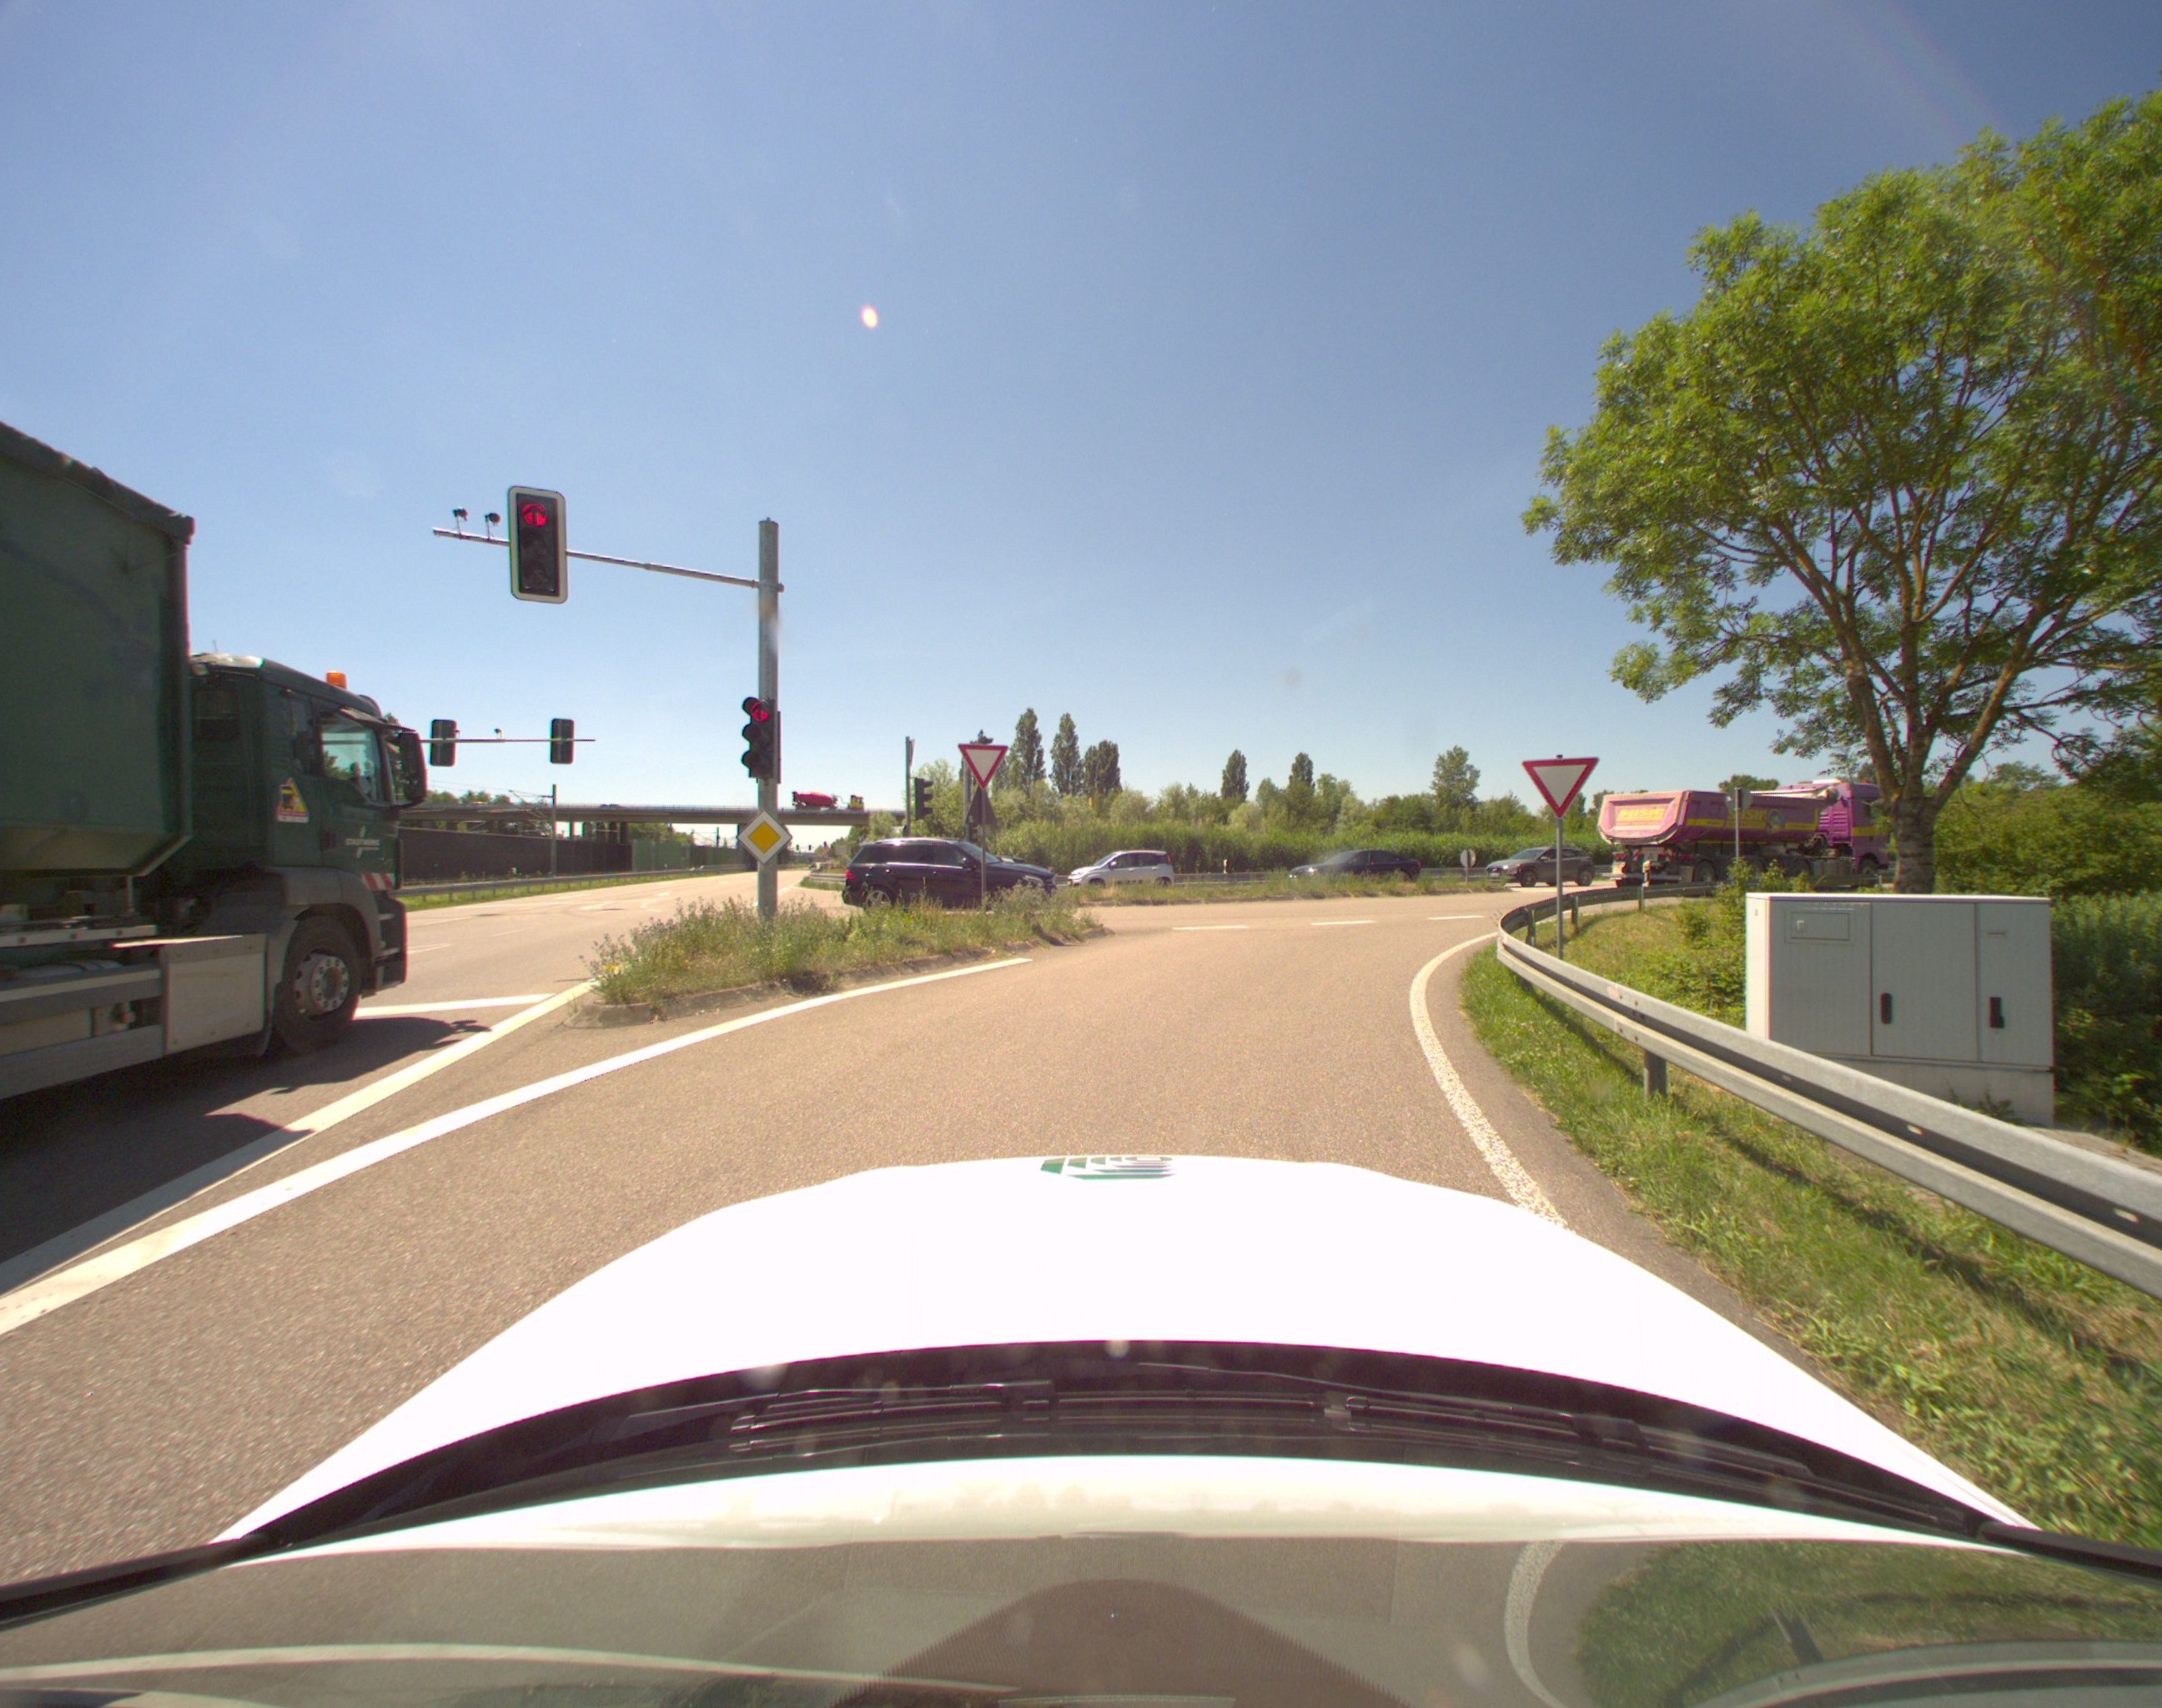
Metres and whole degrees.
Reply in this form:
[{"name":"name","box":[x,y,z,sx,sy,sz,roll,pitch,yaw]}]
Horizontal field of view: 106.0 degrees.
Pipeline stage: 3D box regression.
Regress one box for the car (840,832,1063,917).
[{"name":"car","box":[-2.799,0.423,18.264,4.558,1.767,1.937,0,0,6]}]

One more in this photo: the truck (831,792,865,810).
[{"name":"truck","box":[-38.321,-8.718,134.139,5.094,2.674,1.992,-1,0,-12]}]

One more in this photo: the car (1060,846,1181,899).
[{"name":"car","box":[1.304,0.592,27.508,3.714,1.631,1.725,-1,0,-16]}]

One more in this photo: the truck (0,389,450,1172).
[{"name":"truck","box":[-6.259,-0.338,2.969,2.594,3.737,9.527,-1,0,-14]}]

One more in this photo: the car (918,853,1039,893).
[{"name":"car","box":[-3.876,0.709,31.336,4.378,1.398,2.000,-1,0,-1]}]

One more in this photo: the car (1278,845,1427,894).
[{"name":"car","box":[9.947,0.533,29.944,4.931,1.631,1.925,-1,0,-14]}]

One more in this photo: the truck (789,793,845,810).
[{"name":"truck","box":[-43.008,-8.597,133.028,8.512,2.674,1.989,-1,0,-16]}]

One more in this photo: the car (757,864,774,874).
[{"name":"car","box":[-49.315,2.329,127.255,1.998,1.398,4.382,-1,0,-16]}]

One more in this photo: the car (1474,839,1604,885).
[{"name":"car","box":[17.811,0.309,31.720,4.231,1.631,1.924,-1,0,-14]}]

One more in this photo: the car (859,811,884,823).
[{"name":"car","box":[-37.242,-6.509,144.971,4.185,2.013,1.989,-1,0,-16]}]

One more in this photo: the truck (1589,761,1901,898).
[{"name":"truck","box":[21.889,-0.800,26.581,11.900,3.821,2.820,-1,0,-24]}]

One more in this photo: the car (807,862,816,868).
[{"name":"car","box":[-72.530,3.004,219.137,1.998,1.398,4.382,-1,0,-16]}]
